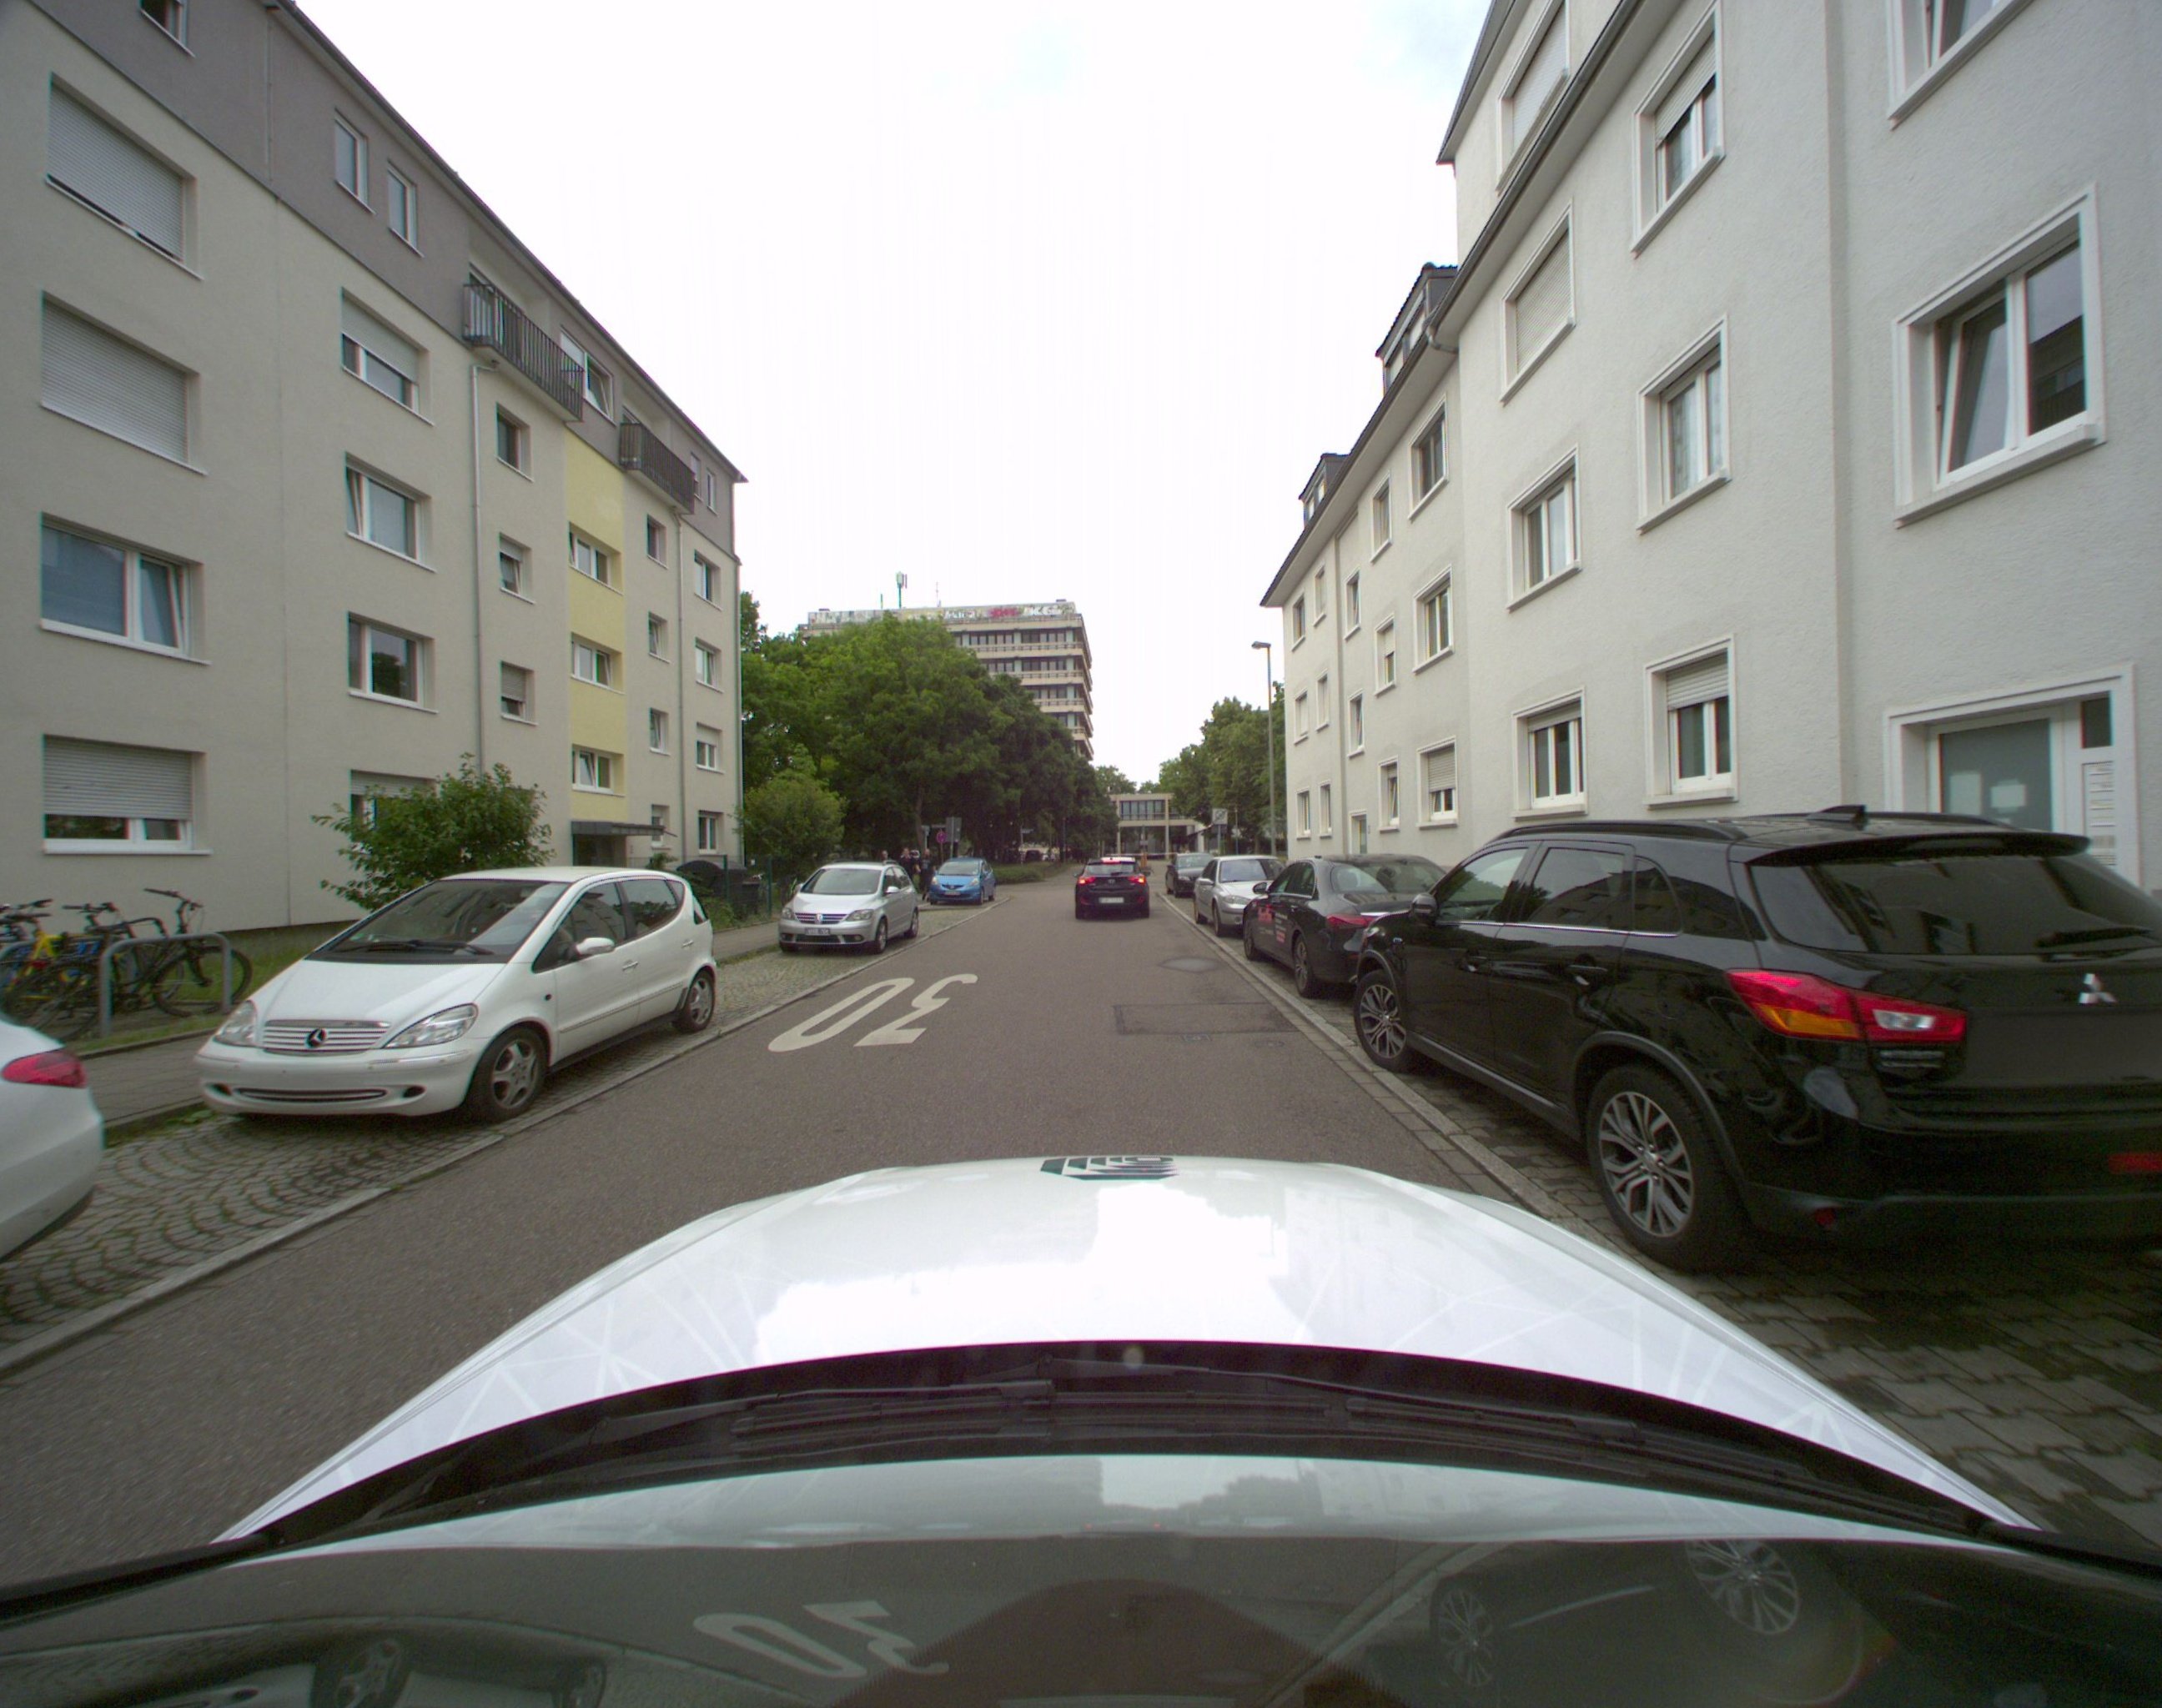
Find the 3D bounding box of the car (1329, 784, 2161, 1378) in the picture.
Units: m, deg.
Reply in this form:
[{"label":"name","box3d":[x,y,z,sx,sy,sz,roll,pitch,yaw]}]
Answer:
[{"label":"car","box3d":[2.891,0.610,4.304,1.815,1.603,4.088,-1,0,-1]}]

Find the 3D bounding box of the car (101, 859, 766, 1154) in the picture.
[{"label":"car","box3d":[-4.535,0.877,6.865,1.888,1.599,4.521,1,0,1]}]

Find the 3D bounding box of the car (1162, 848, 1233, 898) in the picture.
[{"label":"car","box3d":[3.827,0.578,27.533,1.814,1.519,4.675,-1,0,1]}]

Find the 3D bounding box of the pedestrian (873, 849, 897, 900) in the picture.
[{"label":"pedestrian","box3d":[-6.660,0.687,27.645,0.598,1.713,0.649,-1,0,3]}]

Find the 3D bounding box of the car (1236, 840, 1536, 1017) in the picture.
[{"label":"car","box3d":[3.117,0.649,9.470,1.814,1.519,4.675,-1,0,1]}]

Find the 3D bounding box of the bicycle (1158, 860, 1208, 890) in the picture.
[{"label":"bicycle","box3d":[4.121,0.852,32.986,1.920,1.163,0.693,-1,0,2]}]

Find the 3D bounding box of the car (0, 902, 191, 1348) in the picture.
[{"label":"car","box3d":[-4.593,0.913,1.025,1.888,1.452,4.521,1,0,1]}]

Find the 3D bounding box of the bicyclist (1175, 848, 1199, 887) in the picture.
[{"label":"bicyclist","box3d":[4.283,0.528,32.977,0.895,1.552,0.694,-1,0,2]}]

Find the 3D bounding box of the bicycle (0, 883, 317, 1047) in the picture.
[{"label":"bicycle","box3d":[-8.411,0.919,7.503,0.728,1.211,2.091,-1,0,2]}]

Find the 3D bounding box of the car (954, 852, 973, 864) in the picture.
[{"label":"car","box3d":[-14.390,0.465,99.595,1.659,1.333,3.397,-1,0,2]}]

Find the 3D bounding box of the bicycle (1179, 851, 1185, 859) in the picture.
[{"label":"bicycle","box3d":[13.355,0.083,107.820,0.690,0.997,1.736,-1,0,3]}]

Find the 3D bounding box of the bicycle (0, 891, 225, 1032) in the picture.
[{"label":"bicycle","box3d":[-9.301,0.932,7.430,0.728,1.078,2.091,-1,0,2]}]

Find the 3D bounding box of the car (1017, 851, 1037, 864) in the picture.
[{"label":"car","box3d":[-5.667,0.335,85.822,1.659,1.333,3.397,-1,0,2]}]

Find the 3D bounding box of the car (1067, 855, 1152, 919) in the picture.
[{"label":"car","box3d":[0.745,0.755,20.664,1.895,1.433,4.235,-1,0,2]}]

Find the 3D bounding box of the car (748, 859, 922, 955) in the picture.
[{"label":"car","box3d":[-4.374,0.872,15.205,1.987,1.541,4.000,0,0,0]}]

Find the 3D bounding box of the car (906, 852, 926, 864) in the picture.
[{"label":"car","box3d":[-20.280,0.487,100.075,1.659,1.333,3.397,-1,0,2]}]

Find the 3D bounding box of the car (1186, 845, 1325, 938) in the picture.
[{"label":"car","box3d":[3.222,0.633,15.954,1.814,1.519,4.675,-1,0,1]}]

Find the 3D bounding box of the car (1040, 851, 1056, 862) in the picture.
[{"label":"car","box3d":[-3.984,0.256,99.229,1.659,1.333,3.397,-1,0,2]}]

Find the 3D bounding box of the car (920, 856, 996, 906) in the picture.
[{"label":"car","box3d":[-4.056,0.850,27.578,1.987,1.541,3.999,0,0,-1]}]

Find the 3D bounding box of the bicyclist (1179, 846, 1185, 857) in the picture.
[{"label":"bicyclist","box3d":[13.354,-0.328,107.880,0.690,1.444,0.796,-1,0,3]}]

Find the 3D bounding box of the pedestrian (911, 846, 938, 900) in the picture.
[{"label":"pedestrian","box3d":[-5.417,0.640,28.157,0.711,1.831,0.798,-1,0,3]}]

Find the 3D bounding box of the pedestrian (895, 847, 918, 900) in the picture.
[{"label":"pedestrian","box3d":[-6.062,0.674,28.316,0.602,1.831,0.676,-1,0,3]}]

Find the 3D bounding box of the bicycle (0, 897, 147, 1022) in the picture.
[{"label":"bicycle","box3d":[-10.249,1.003,7.548,0.728,1.078,2.091,-1,0,2]}]
